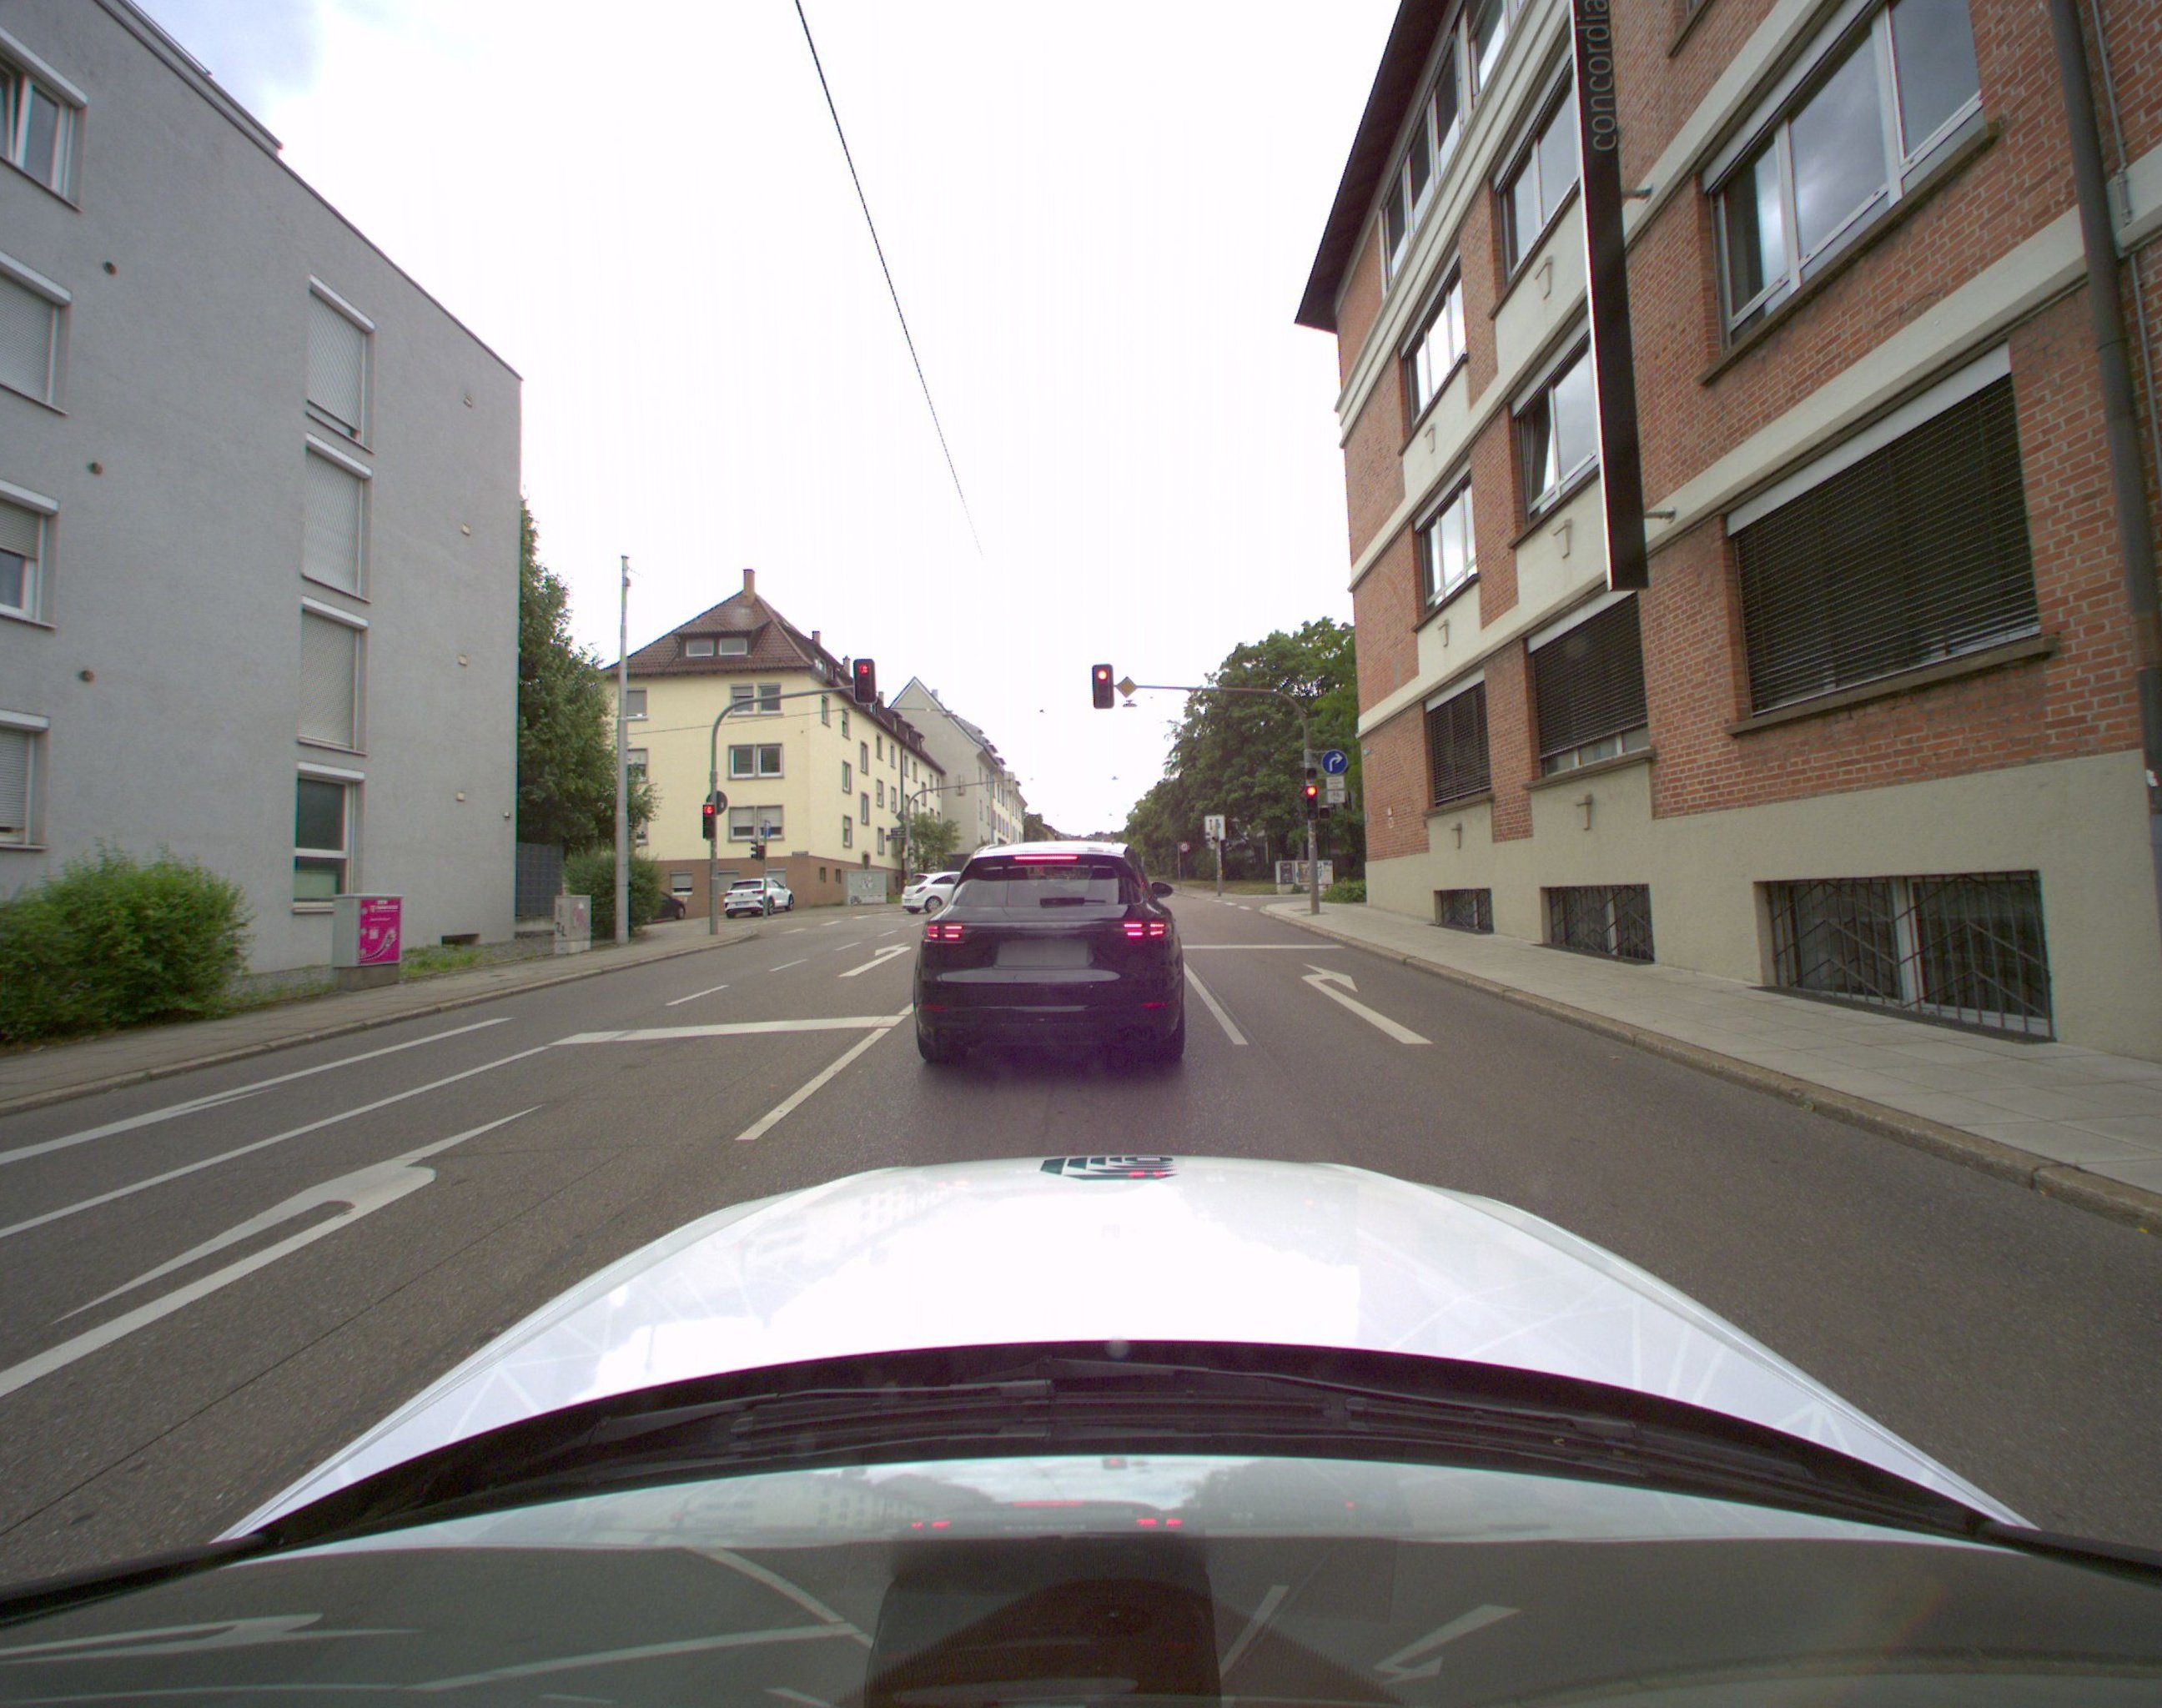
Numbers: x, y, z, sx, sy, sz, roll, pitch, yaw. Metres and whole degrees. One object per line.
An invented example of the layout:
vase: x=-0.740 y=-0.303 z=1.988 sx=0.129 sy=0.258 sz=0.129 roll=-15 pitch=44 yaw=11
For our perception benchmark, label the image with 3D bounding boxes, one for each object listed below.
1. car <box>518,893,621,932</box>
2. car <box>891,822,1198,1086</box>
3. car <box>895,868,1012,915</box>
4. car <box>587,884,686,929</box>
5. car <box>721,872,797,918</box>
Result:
car: x=-21.309 y=2.405 z=34.140 sx=1.663 sy=1.362 sz=4.001 roll=-1 pitch=-1 yaw=2
car: x=-0.177 y=0.666 z=7.288 sx=1.986 sy=1.697 sz=4.001 roll=0 pitch=-1 yaw=2
car: x=-4.628 y=1.318 z=29.800 sx=3.906 sy=1.552 sz=1.675 roll=0 pitch=-1 yaw=-36
car: x=-18.550 y=2.138 z=34.203 sx=1.664 sy=1.546 sz=4.103 roll=-5 pitch=-1 yaw=2
car: x=-13.515 y=1.686 z=34.423 sx=1.666 sy=1.662 sz=3.996 roll=-4 pitch=0 yaw=-3
